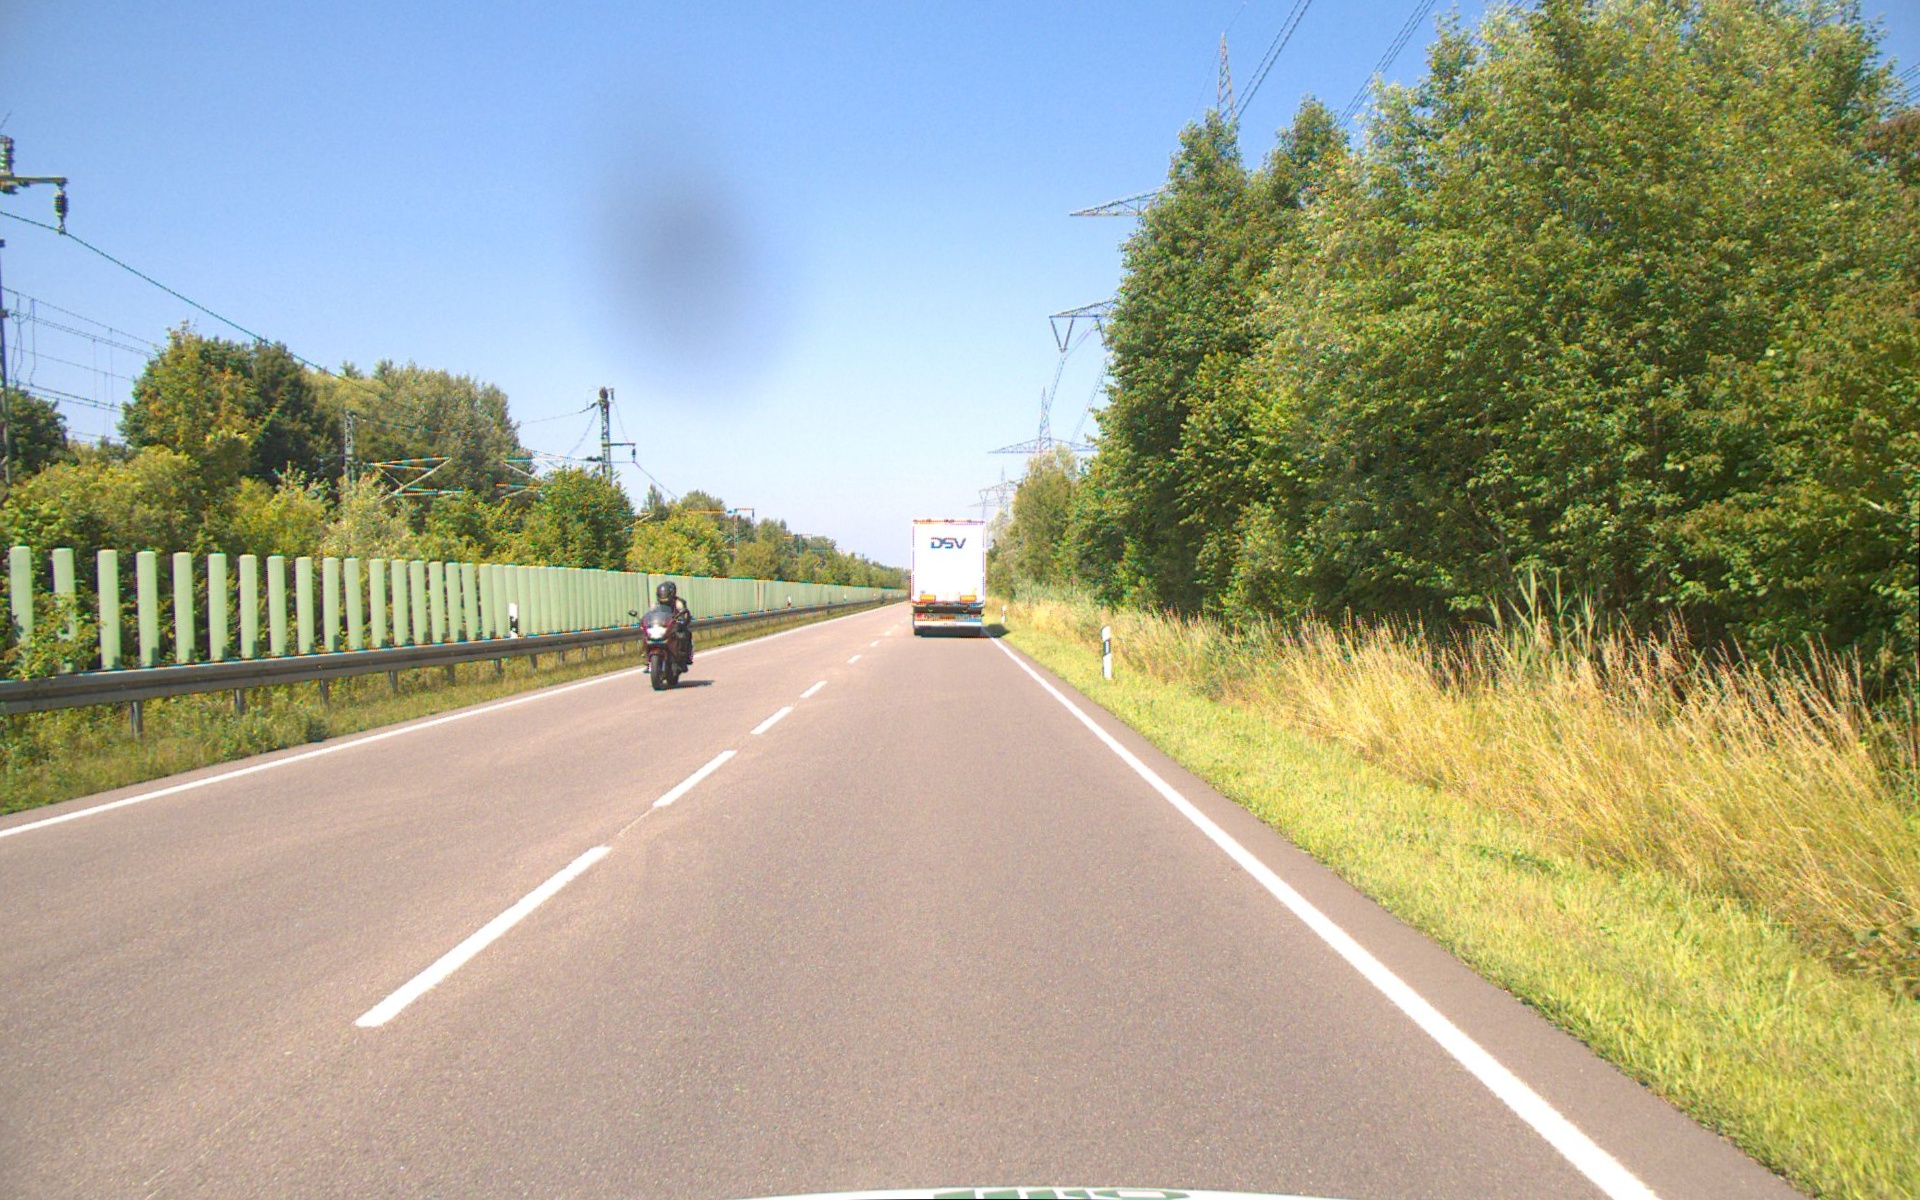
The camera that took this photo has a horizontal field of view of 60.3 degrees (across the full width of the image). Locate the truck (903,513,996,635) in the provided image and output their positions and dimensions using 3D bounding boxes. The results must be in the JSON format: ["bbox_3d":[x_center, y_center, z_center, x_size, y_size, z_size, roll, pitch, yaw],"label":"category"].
[{"bbox_3d":[-0.480,-0.898,62.037,3.127,4.113,12.004,0,0,-1],"label":"truck"}]

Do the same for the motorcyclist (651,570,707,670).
[{"bbox_3d":[-4.645,0.331,27.405,0.734,1.610,0.864,1,0,1],"label":"motorcyclist"}]

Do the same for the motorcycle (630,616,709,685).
[{"bbox_3d":[-4.657,0.784,26.662,0.738,1.031,2.721,1,0,1],"label":"motorcycle"}]

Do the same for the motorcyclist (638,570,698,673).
[{"bbox_3d":[-4.654,0.335,26.455,0.742,1.610,1.003,1,0,1],"label":"motorcyclist"}]
